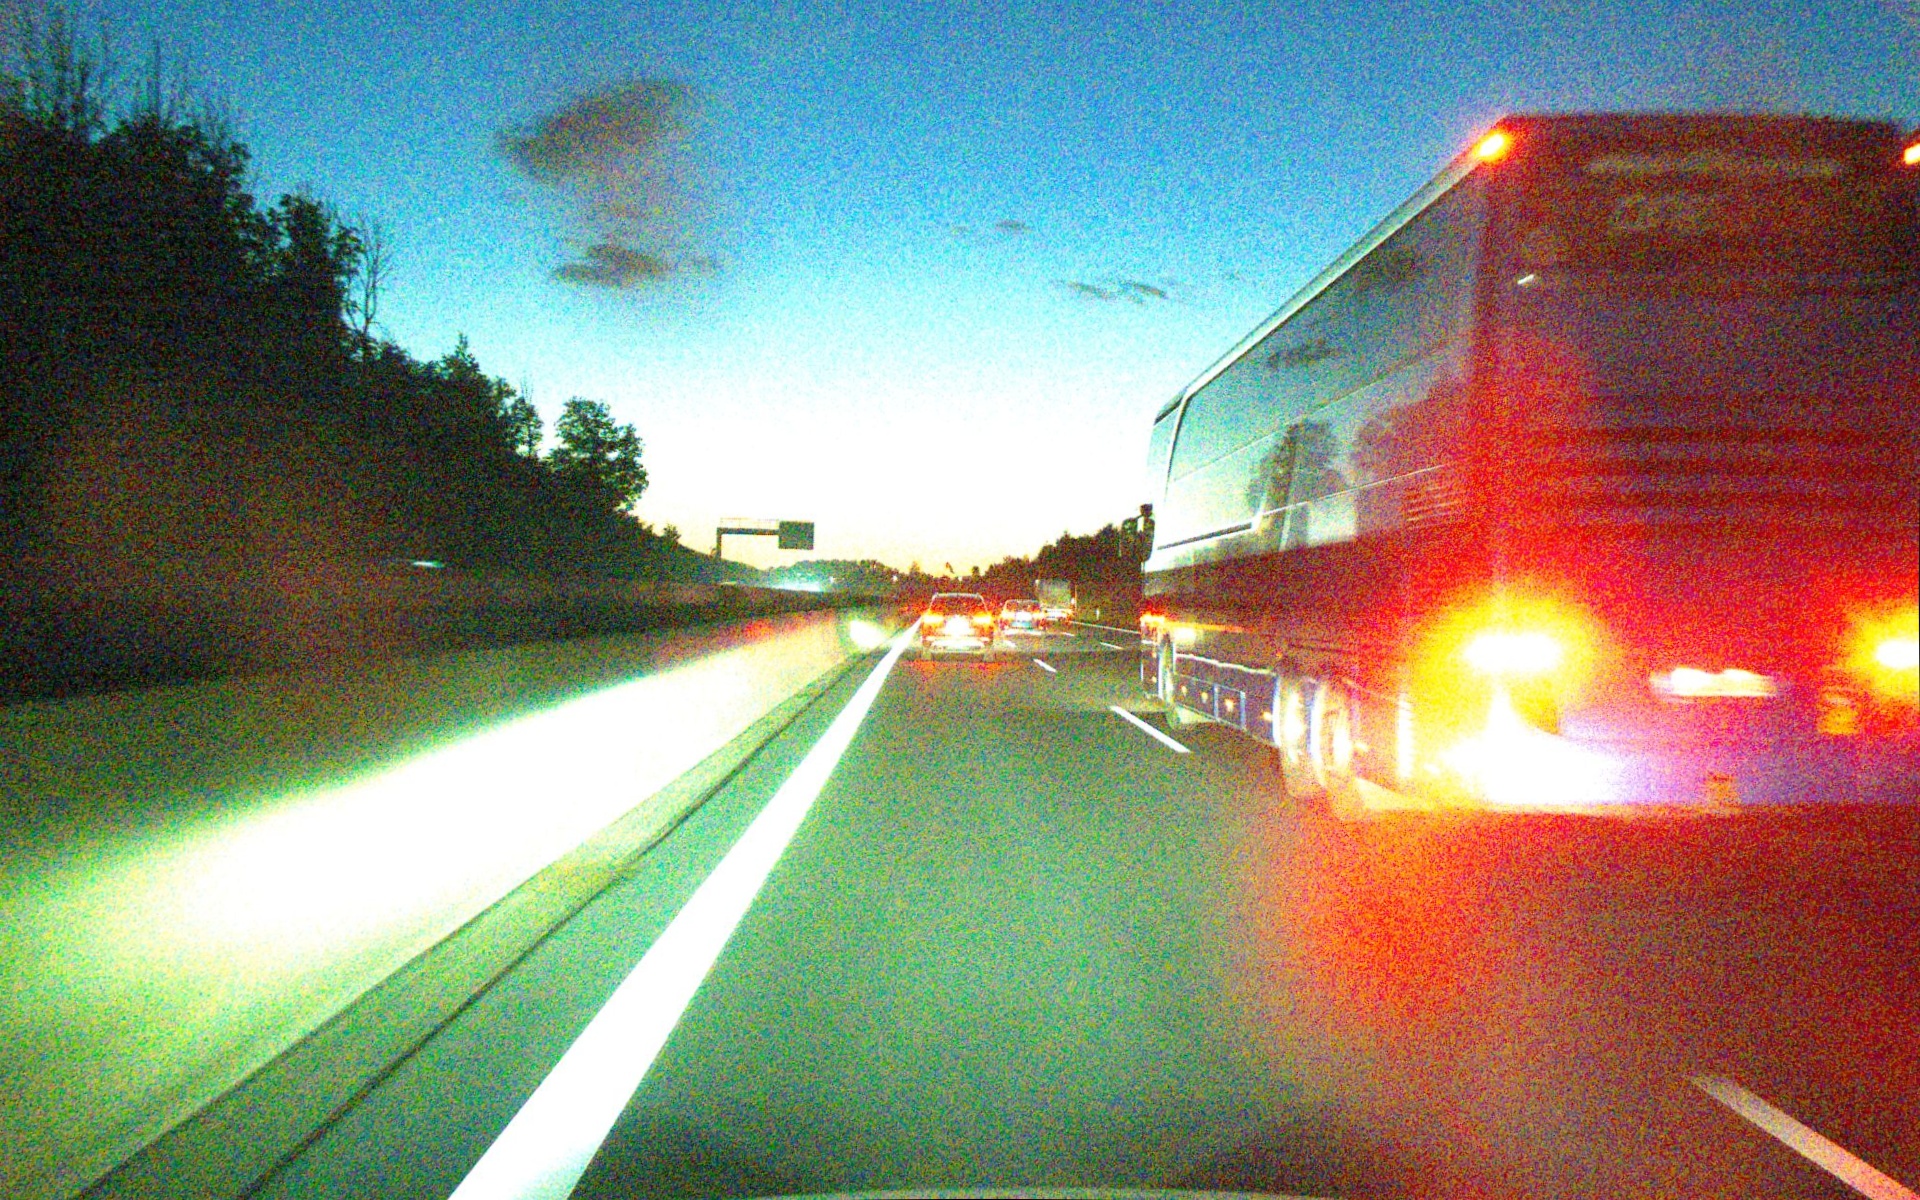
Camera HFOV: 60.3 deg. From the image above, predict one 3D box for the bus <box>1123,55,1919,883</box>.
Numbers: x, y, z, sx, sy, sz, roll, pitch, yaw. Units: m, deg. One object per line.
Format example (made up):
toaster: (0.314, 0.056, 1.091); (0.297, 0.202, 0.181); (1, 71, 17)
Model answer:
bus: (3.750, -0.613, 15.602); (2.598, 4.064, 14.697); (2, 0, -1)

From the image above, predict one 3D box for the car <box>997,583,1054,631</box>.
car: (2.534, 0.281, 64.695); (1.873, 1.760, 3.998); (1, 0, -3)

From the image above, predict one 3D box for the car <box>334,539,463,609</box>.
car: (-15.230, -0.707, 45.120); (1.953, 1.664, 4.747); (4, 1, -2)

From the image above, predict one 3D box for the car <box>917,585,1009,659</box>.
car: (0.016, 0.522, 40.581); (2.063, 1.646, 4.202); (2, 0, -2)

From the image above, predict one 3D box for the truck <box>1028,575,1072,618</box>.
truck: (6.530, -0.234, 121.042); (2.550, 2.925, 7.483); (2, 0, -2)
